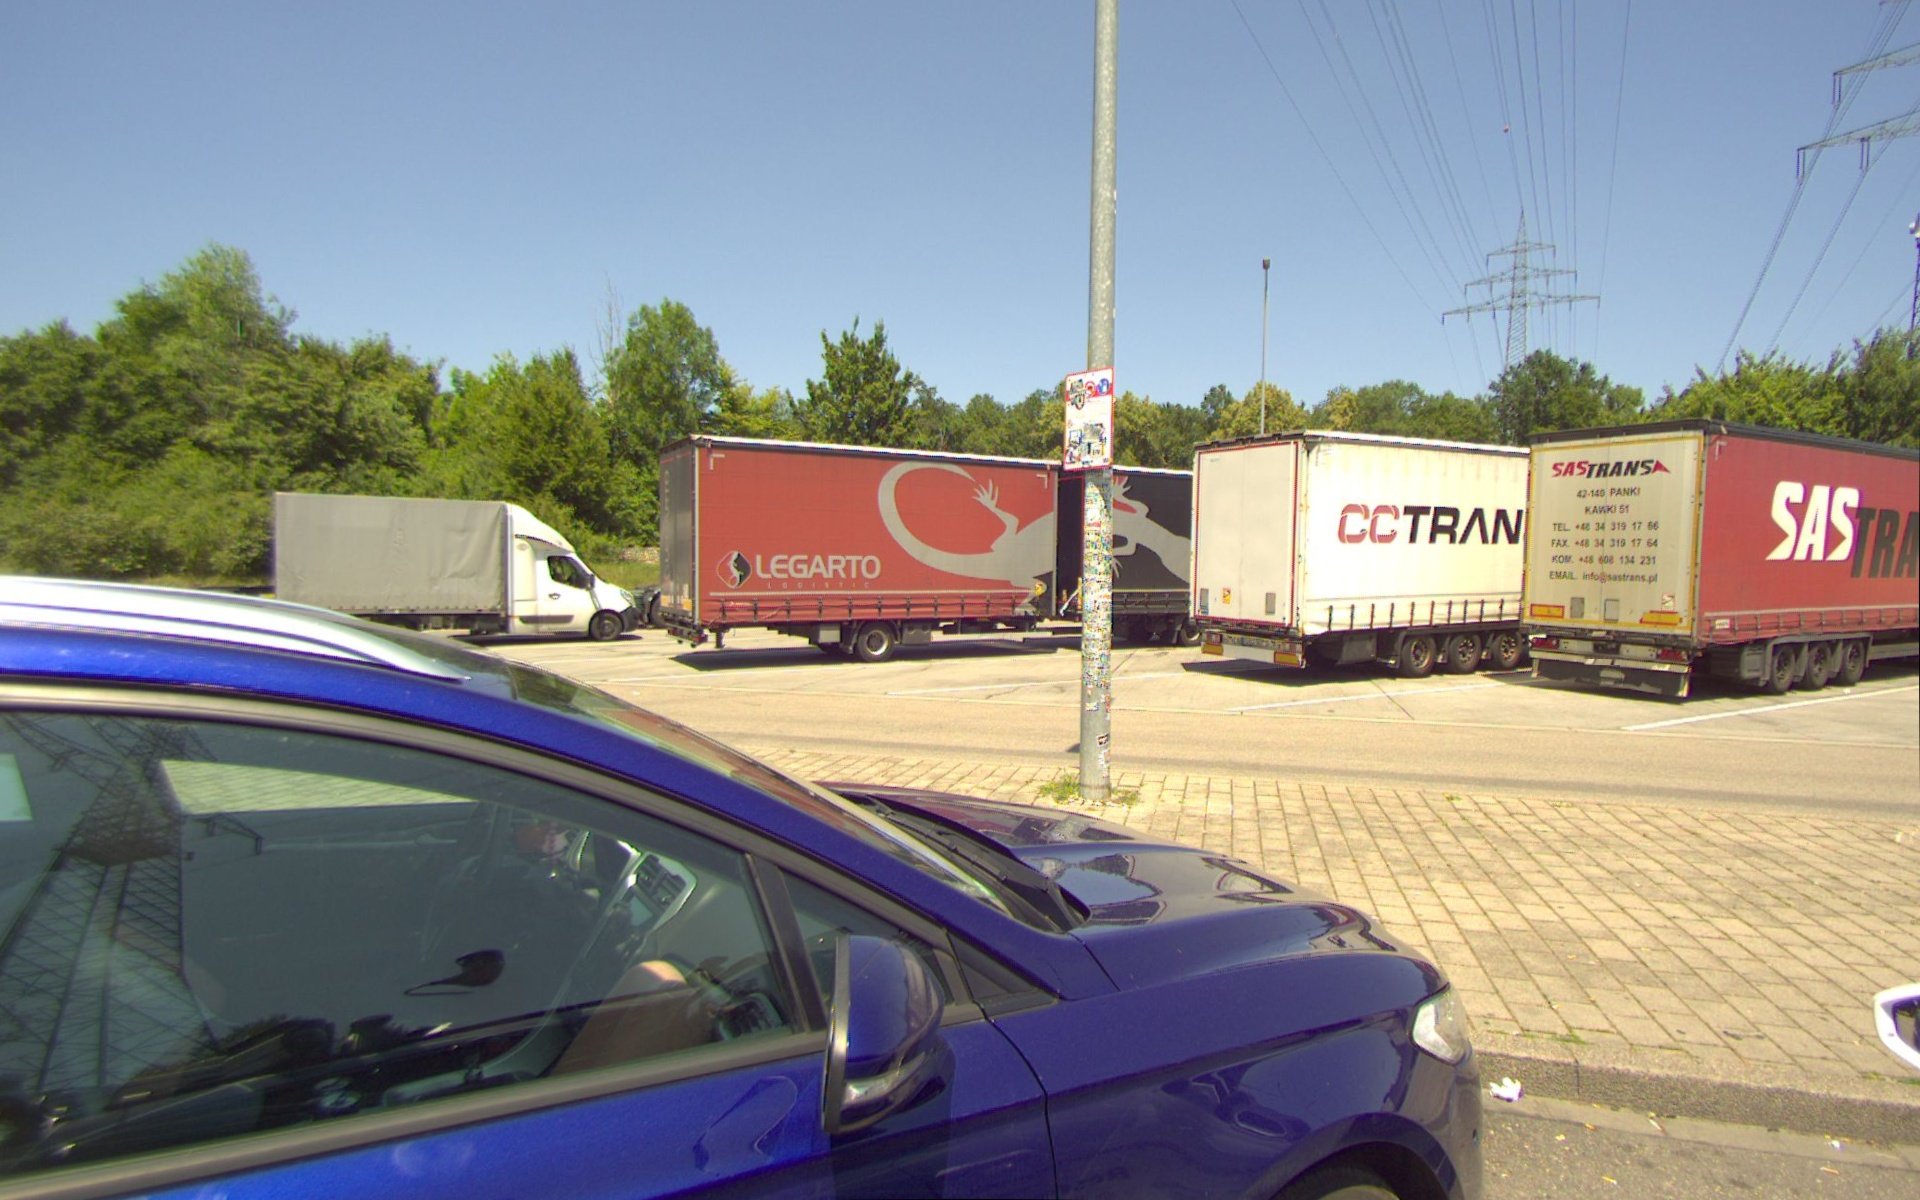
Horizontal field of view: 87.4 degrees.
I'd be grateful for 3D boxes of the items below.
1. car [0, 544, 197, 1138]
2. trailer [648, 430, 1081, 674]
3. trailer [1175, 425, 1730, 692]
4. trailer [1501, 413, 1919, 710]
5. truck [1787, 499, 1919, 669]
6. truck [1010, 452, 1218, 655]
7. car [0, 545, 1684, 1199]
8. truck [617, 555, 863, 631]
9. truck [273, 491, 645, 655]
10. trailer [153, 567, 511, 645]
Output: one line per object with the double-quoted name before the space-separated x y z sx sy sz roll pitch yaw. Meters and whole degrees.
"car" -4.609 0.605 2.237 4.444 1.520 1.762 0 2 -32
"trailer" -1.741 -0.902 20.339 8.376 4.141 2.722 -1 3 -30
"trailer" 10.589 -0.801 20.348 13.962 4.141 2.782 -1 3 -30
"trailer" 15.609 -0.692 18.737 13.962 4.141 2.777 -1 3 -30
"truck" 21.211 -0.394 22.015 5.829 3.373 2.837 -1 3 -30
"truck" 3.572 -1.068 23.461 3.947 4.298 2.723 -1 3 -30
"car" -1.033 0.682 1.505 4.444 1.511 1.859 0 2 -32
"truck" -6.345 -0.234 29.285 6.733 2.041 1.987 -1 1 -26
"truck" -11.187 -0.627 23.035 7.204 3.279 2.727 -1 3 -29
"trailer" -15.162 0.053 24.904 7.204 1.711 2.249 -1 3 -29
